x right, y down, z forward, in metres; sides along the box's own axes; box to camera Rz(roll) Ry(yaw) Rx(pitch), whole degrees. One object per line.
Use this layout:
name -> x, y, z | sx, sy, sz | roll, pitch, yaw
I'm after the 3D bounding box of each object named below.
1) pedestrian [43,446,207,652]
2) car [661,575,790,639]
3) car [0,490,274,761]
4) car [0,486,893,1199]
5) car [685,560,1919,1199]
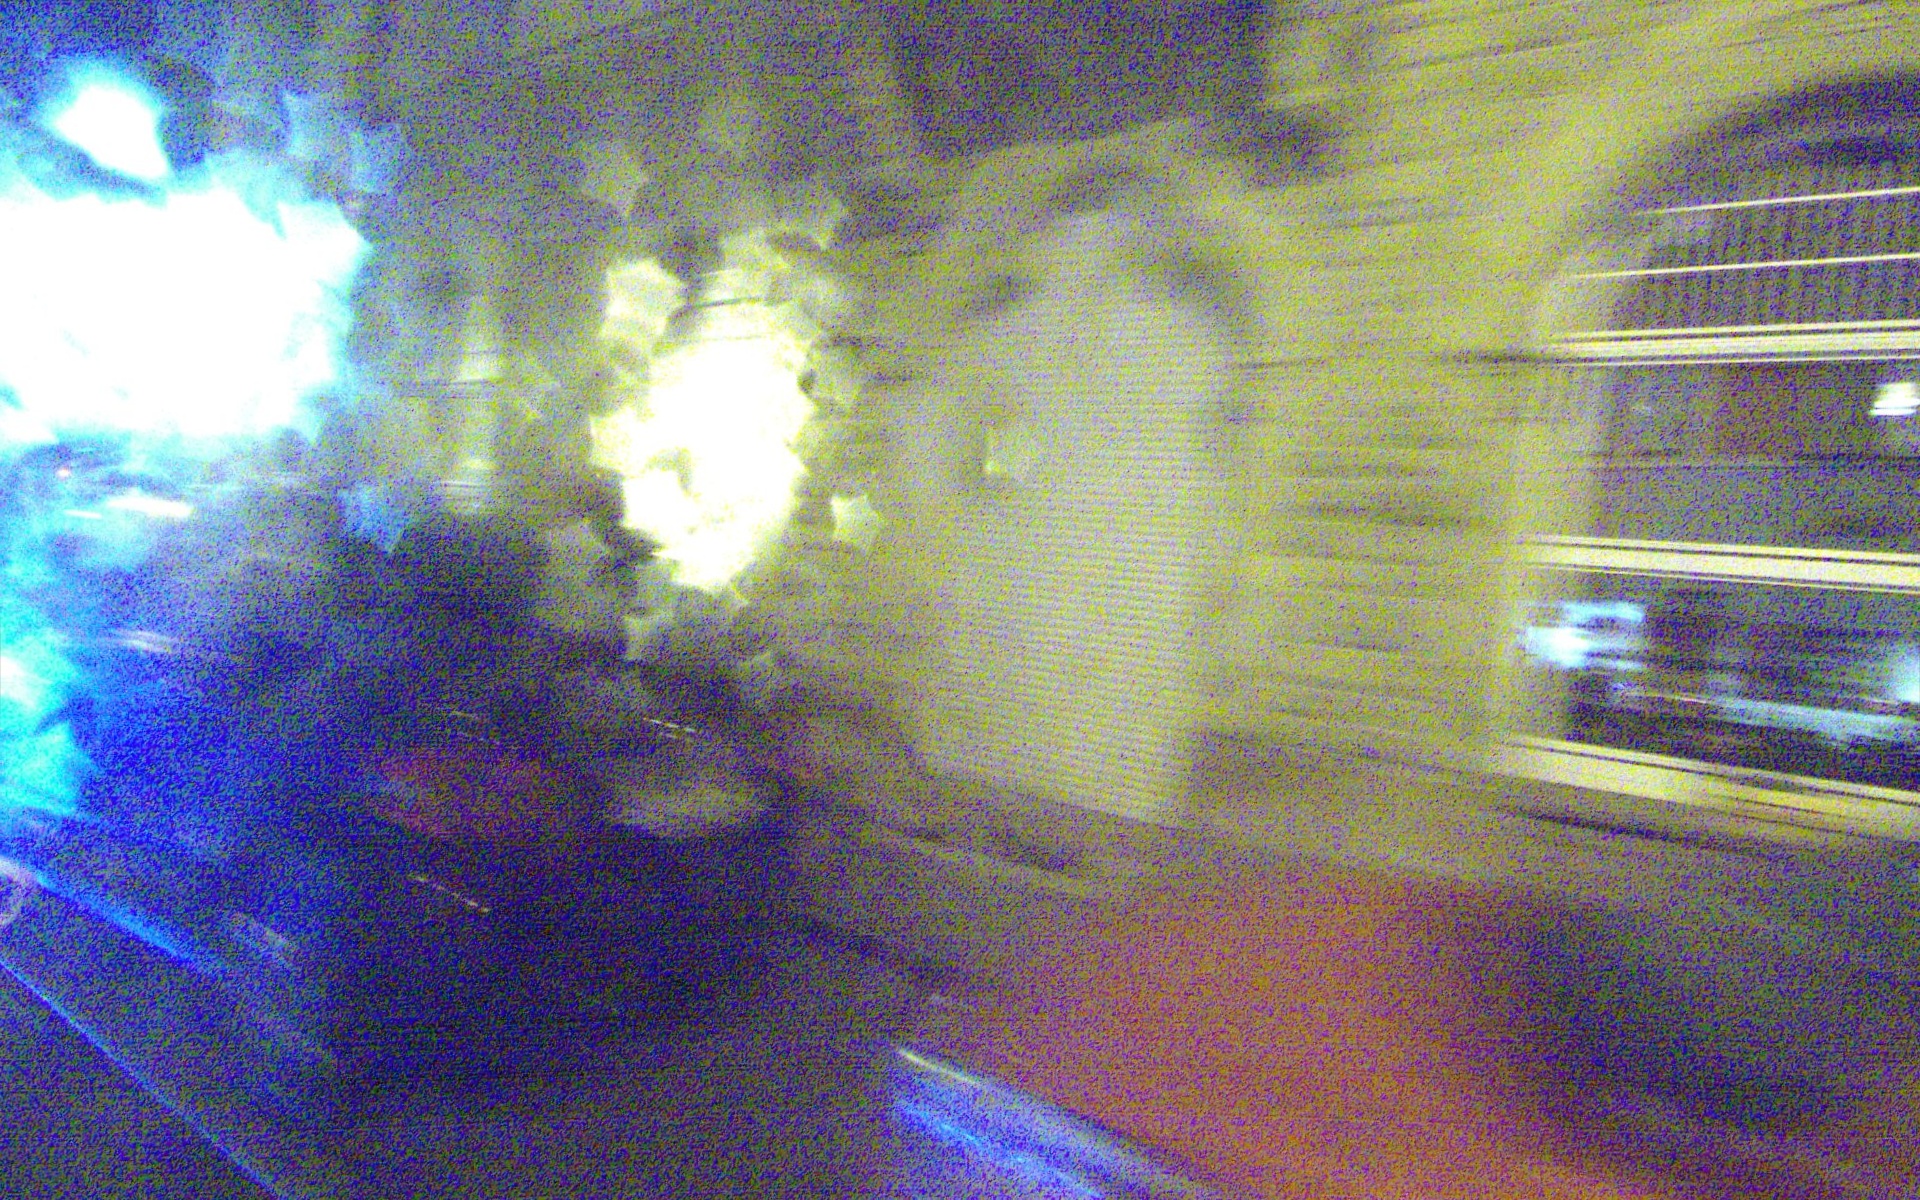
pedestrian -> -7.965, -0.478, 9.599 | 1.065, 1.812, 0.862 | 8, 3, 35
car -> -6.777, 0.242, 29.361 | 1.584, 1.475, 3.408 | 7, -1, 33
car -> -6.562, -0.029, 6.533 | 3.933, 1.429, 1.920 | 6, 0, 31
car -> -2.366, 0.489, 3.763 | 3.826, 1.517, 1.692 | 6, 0, 31
car -> 1.695, 0.943, 1.257 | 3.823, 1.517, 1.693 | 6, 0, 28
